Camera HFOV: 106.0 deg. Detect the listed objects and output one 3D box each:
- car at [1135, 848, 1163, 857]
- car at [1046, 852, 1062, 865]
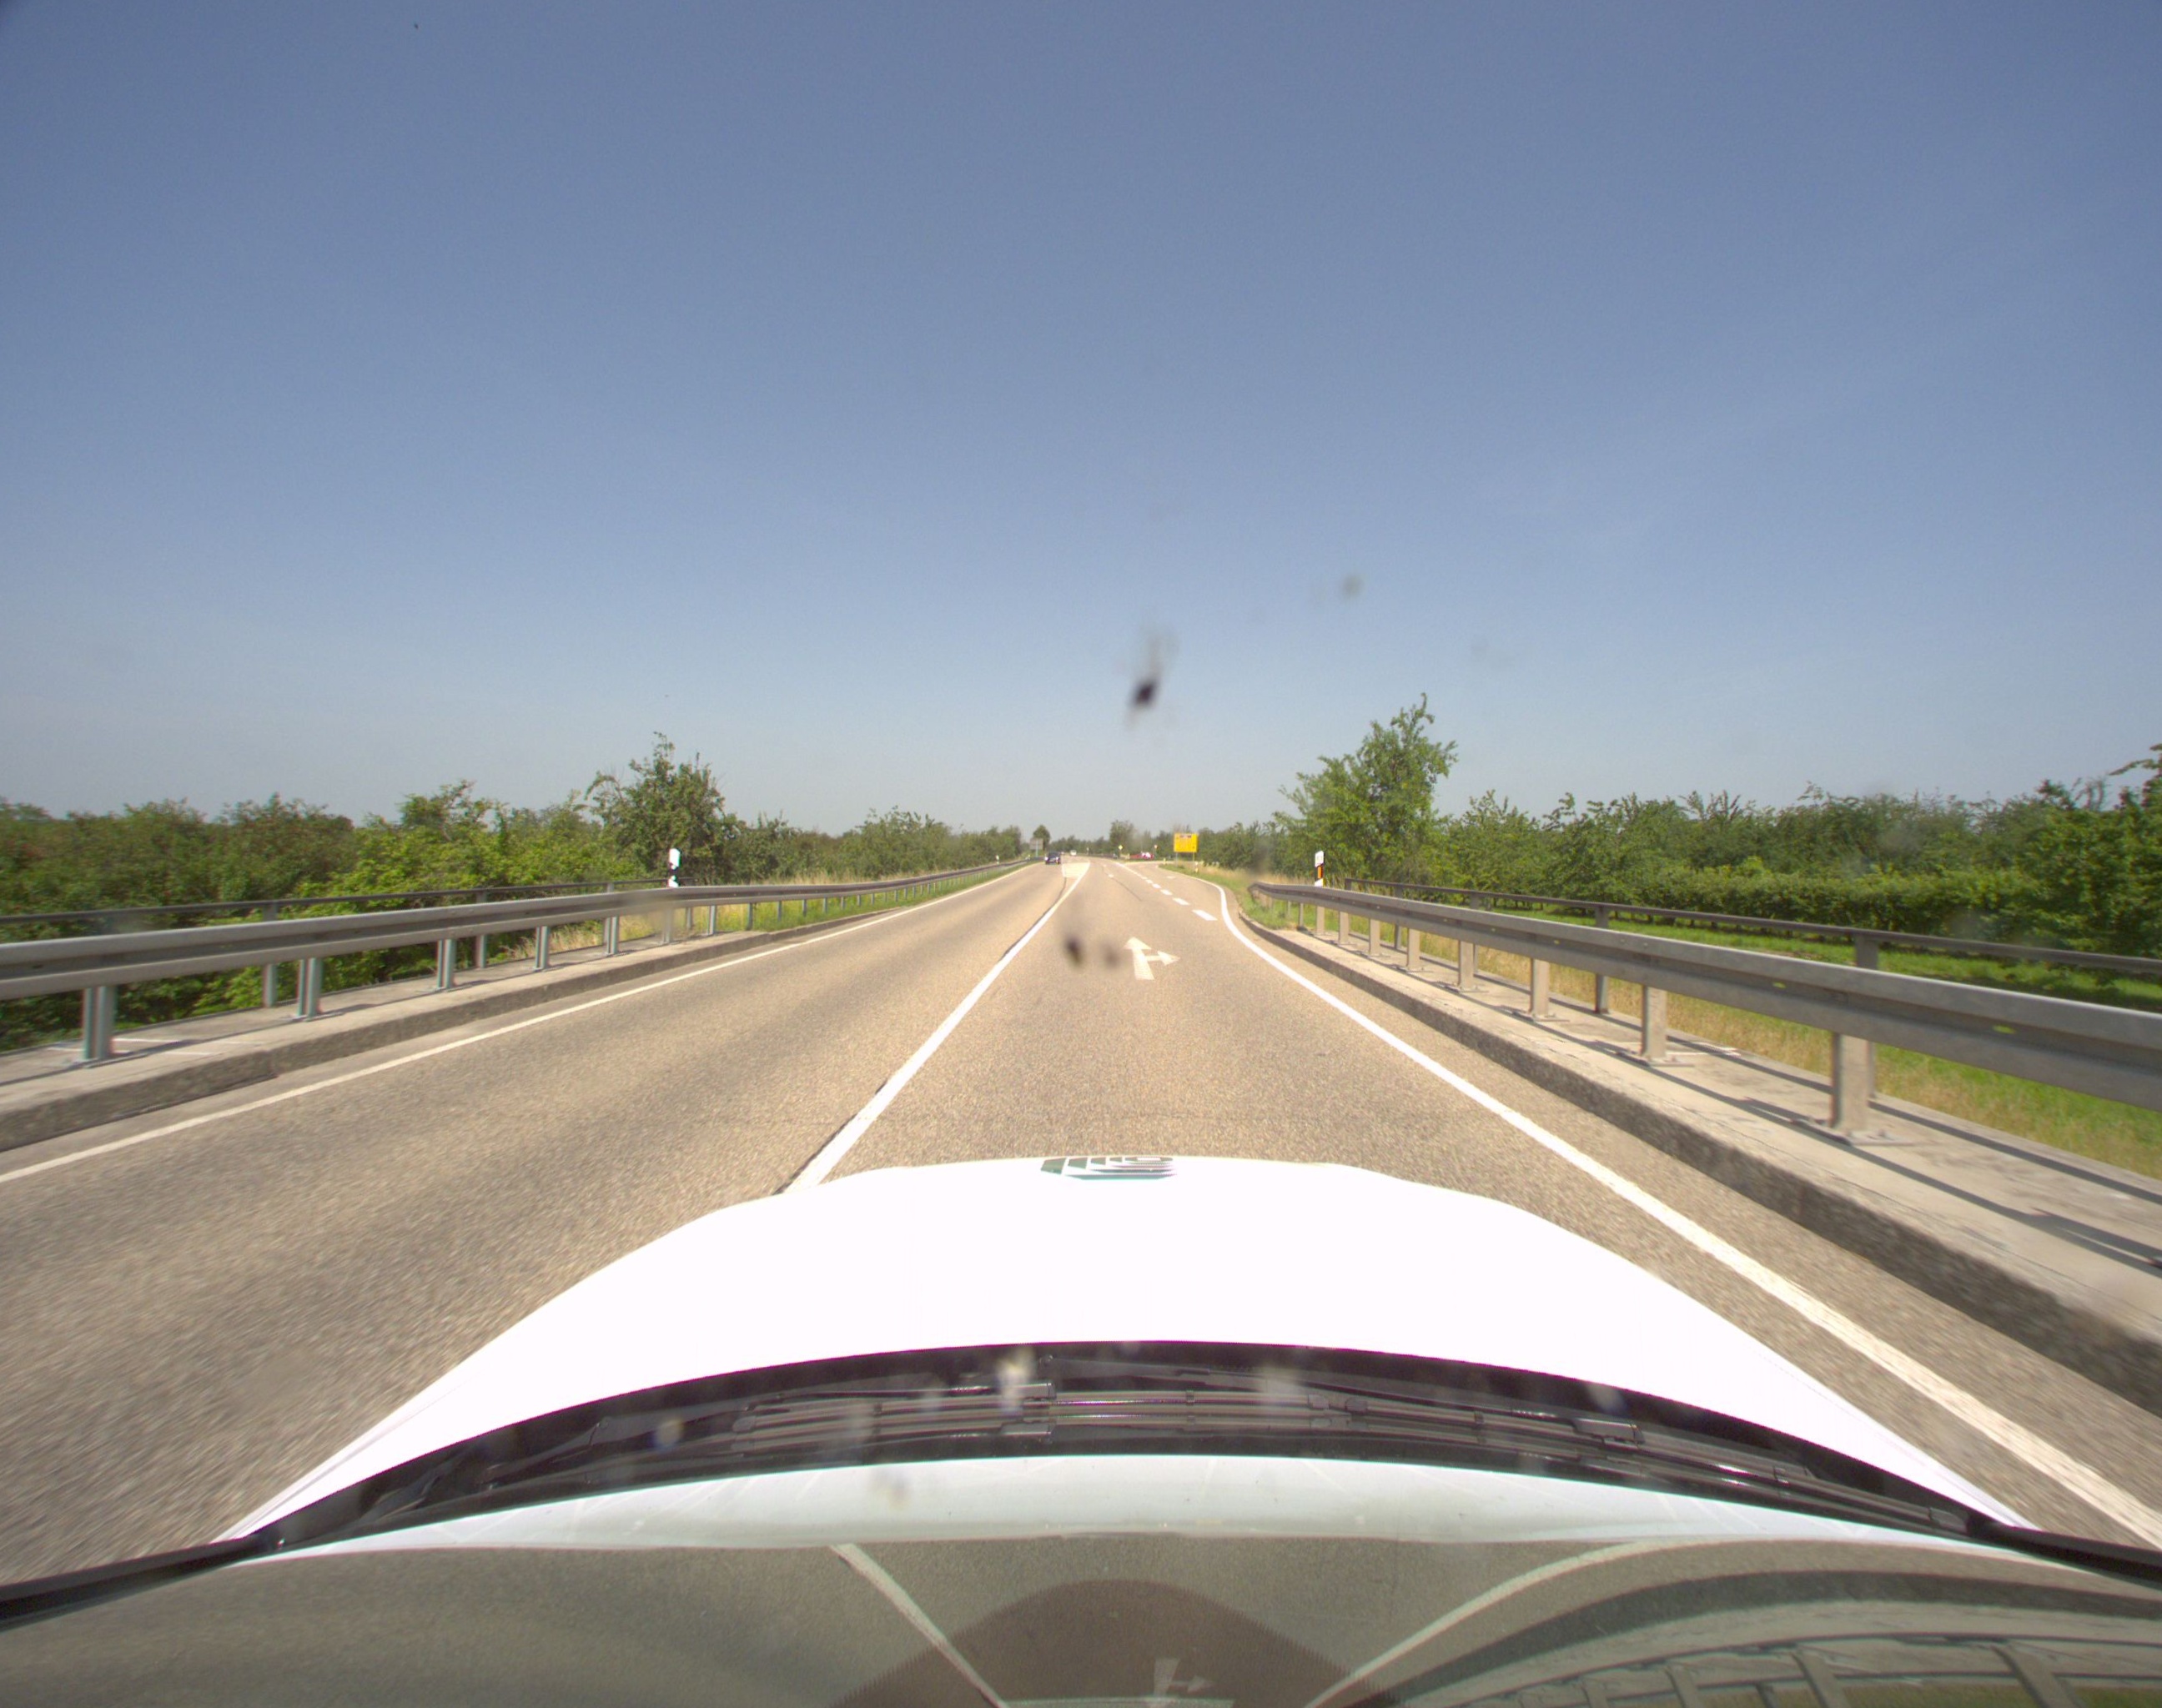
[{"bbox_3d":[11.055,-0.270,132.073,4.463,1.449,1.822,0,0,1],"label":"car"},{"bbox_3d":[-3.511,0.534,105.840,1.797,1.637,4.810,0,0,1],"label":"car"}]
